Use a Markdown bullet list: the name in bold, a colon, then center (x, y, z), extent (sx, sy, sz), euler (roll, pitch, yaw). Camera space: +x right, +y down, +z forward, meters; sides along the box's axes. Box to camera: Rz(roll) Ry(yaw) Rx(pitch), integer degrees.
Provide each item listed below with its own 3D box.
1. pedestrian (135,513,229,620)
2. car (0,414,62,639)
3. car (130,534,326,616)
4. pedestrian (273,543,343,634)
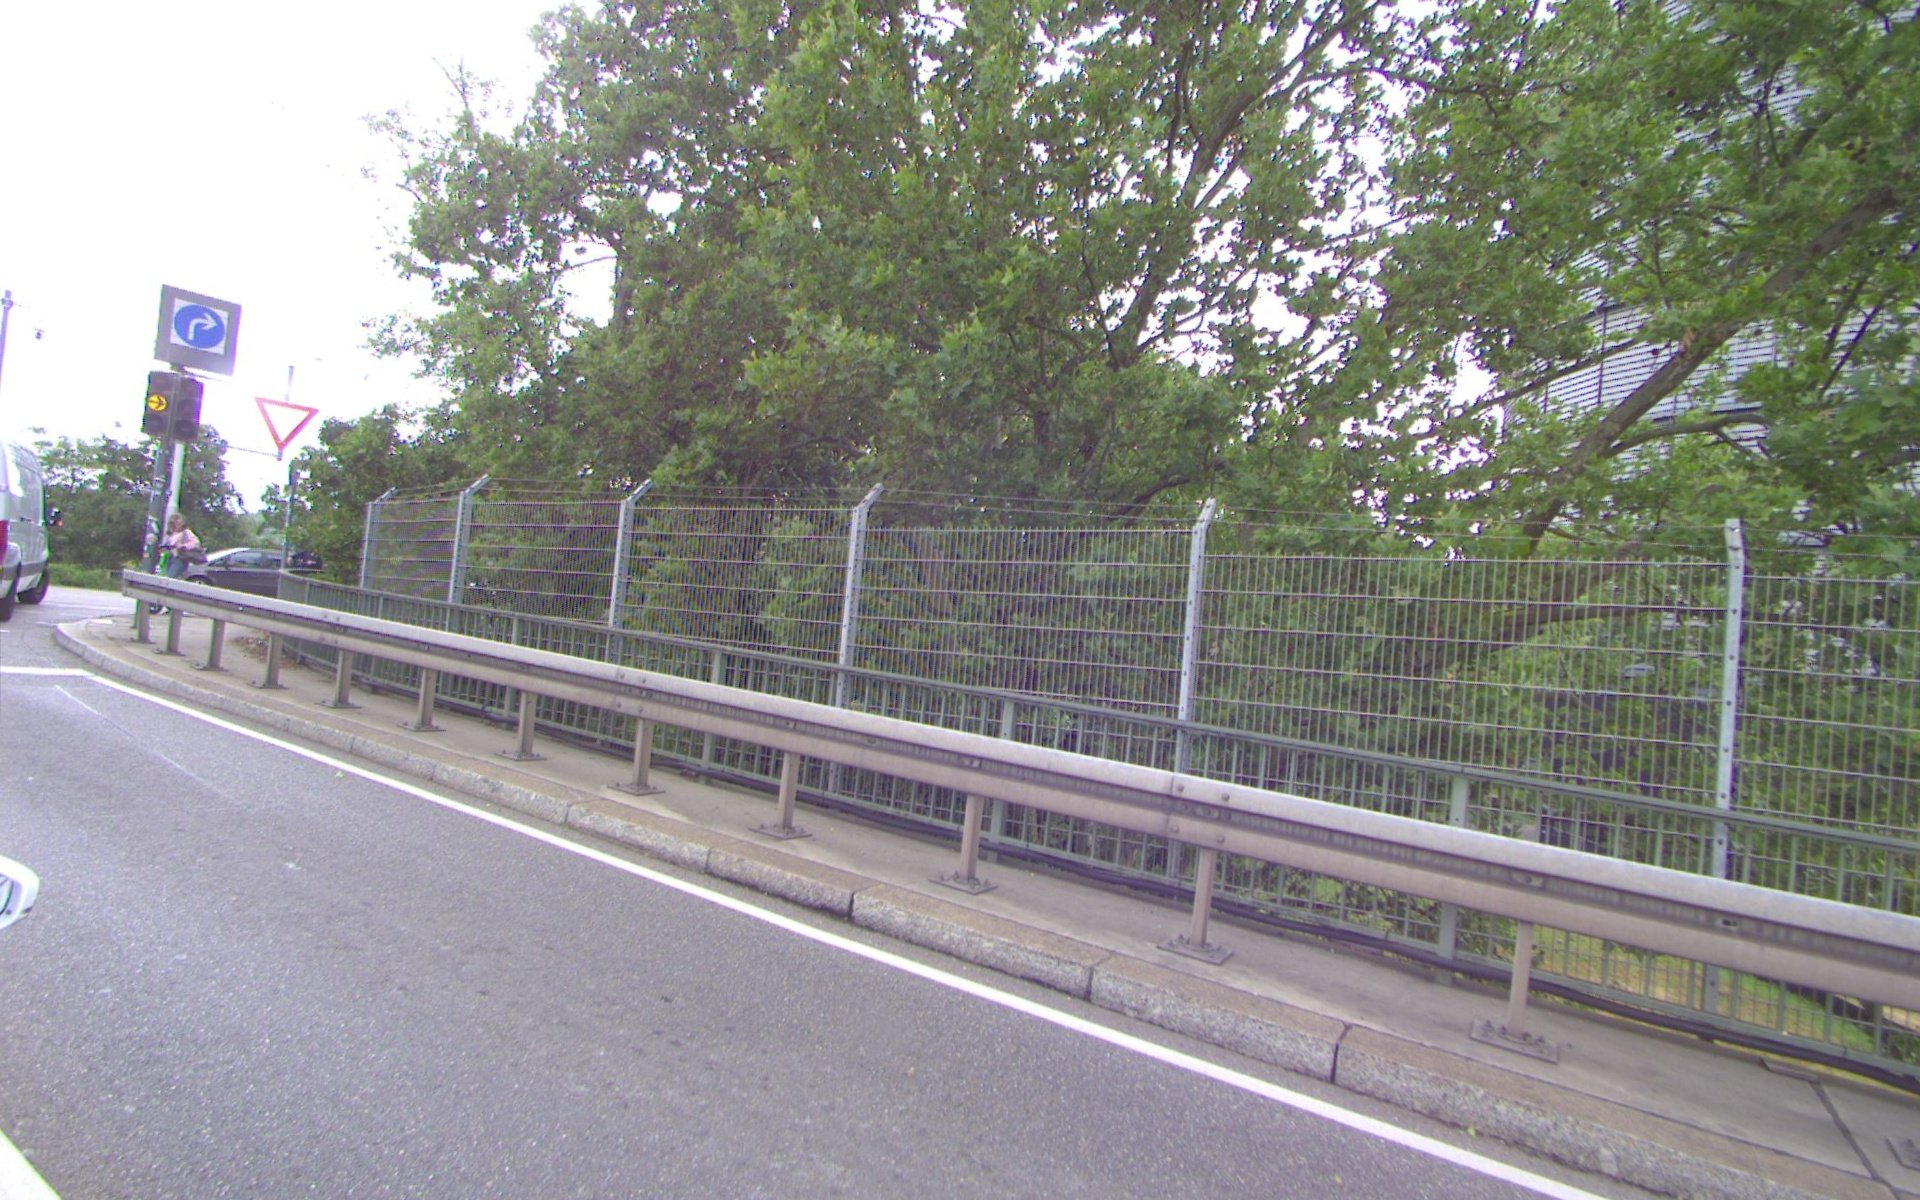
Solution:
- **pedestrian**: center (-13.243, -0.566, 17.138), extent (0.963, 1.698, 0.834), euler (4, -1, 29)
- **car**: center (-14.880, -1.257, 14.680), extent (2.102, 2.817, 6.705), euler (8, -1, -39)
- **car**: center (-20.483, -0.656, 28.299), extent (1.784, 1.684, 3.991), euler (7, -1, 34)
- **pedestrian**: center (-12.654, -0.212, 19.549), extent (0.772, 1.639, 0.675), euler (7, 0, -13)
